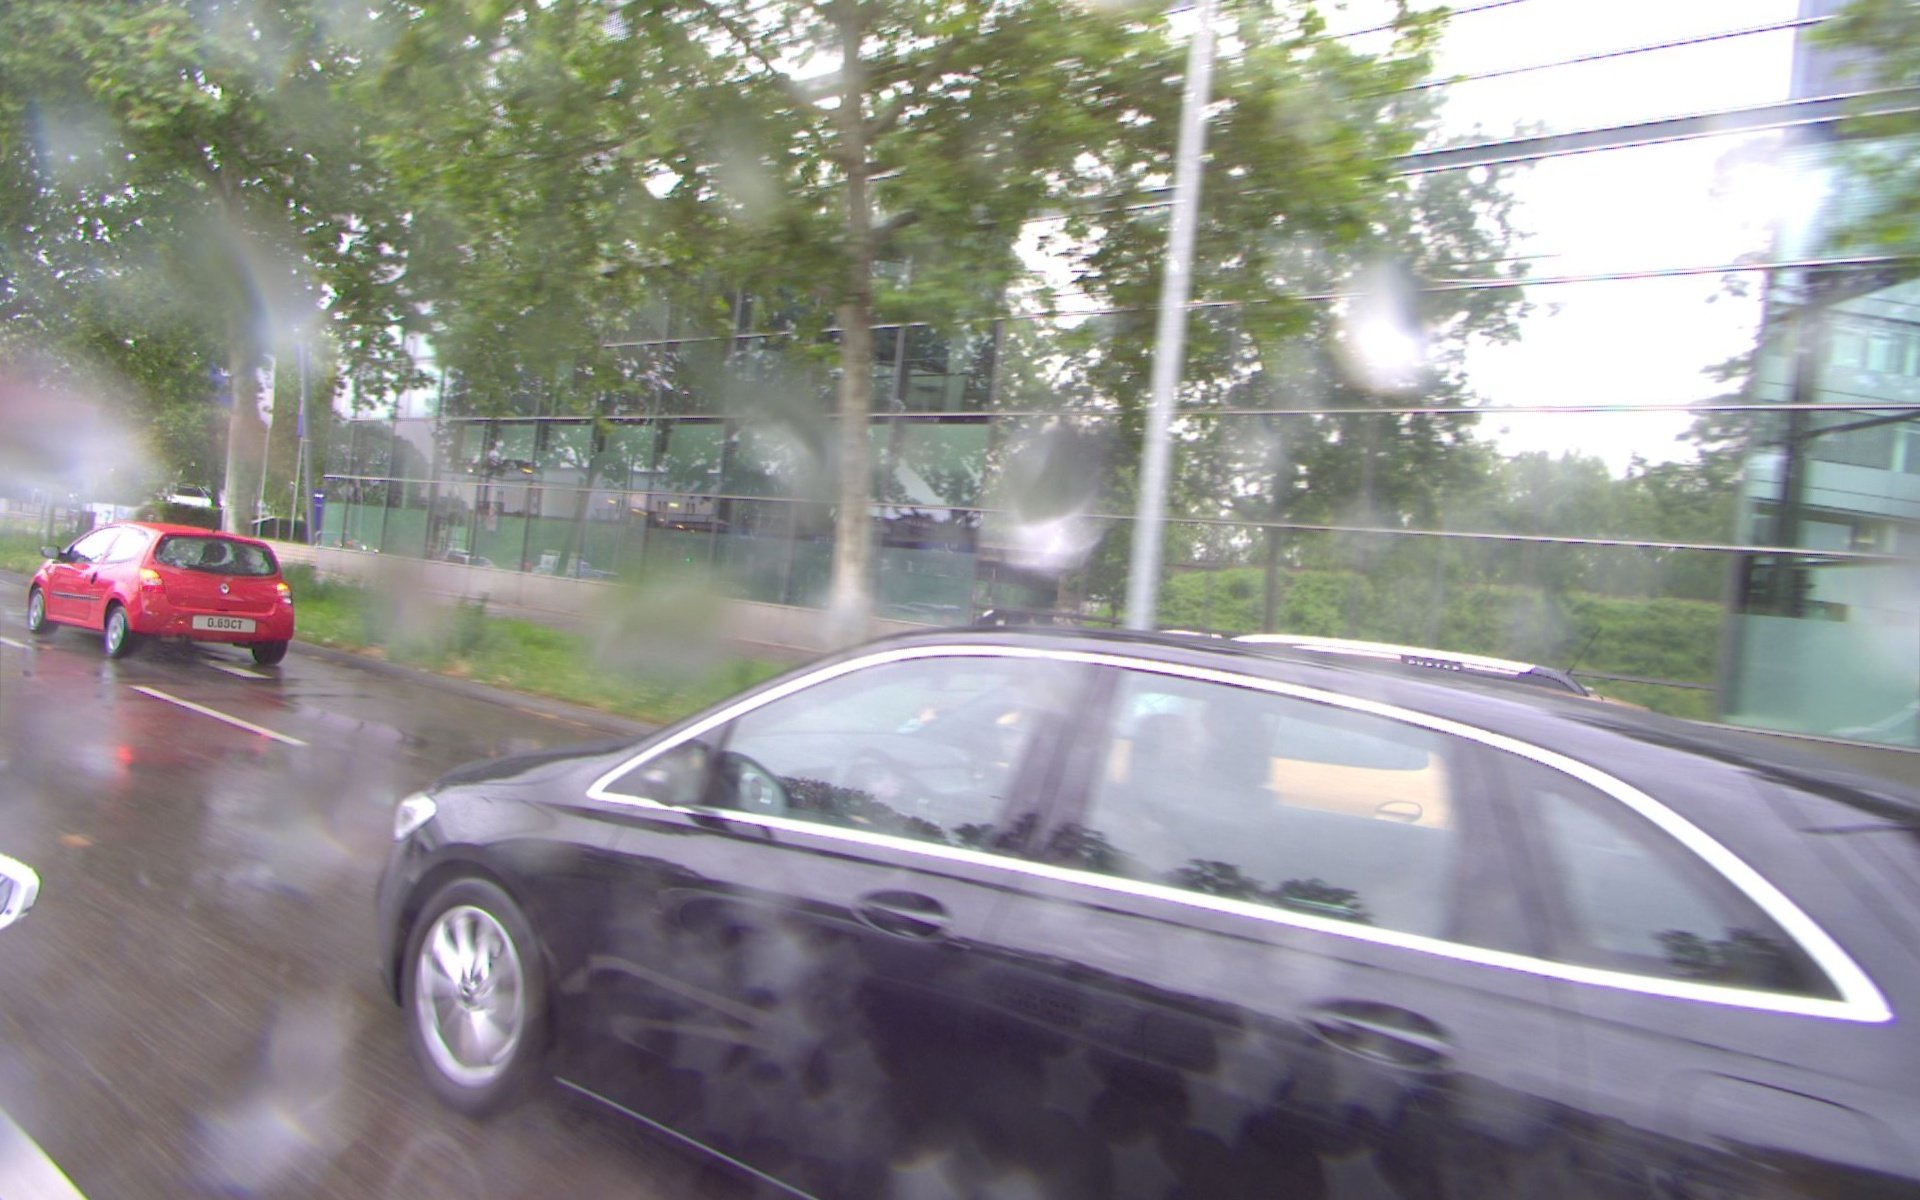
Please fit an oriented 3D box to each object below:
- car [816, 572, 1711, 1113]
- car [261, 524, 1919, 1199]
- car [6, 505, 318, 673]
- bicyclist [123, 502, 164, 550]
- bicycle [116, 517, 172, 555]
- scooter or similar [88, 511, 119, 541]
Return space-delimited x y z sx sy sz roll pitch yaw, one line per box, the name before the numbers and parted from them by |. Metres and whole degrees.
car | 1.448 0.925 5.619 4.102 1.653 1.901 7 1 33
car | 0.118 0.788 2.883 4.018 1.542 1.873 6 0 30
car | -9.462 -0.147 11.887 3.561 1.509 1.681 6 -1 32
bicyclist | -27.402 -2.478 33.775 0.739 1.535 0.805 6 3 29
bicycle | -27.432 -2.155 33.804 2.042 1.119 0.743 6 2 30
scooter or similar | -36.404 -3.126 42.787 0.335 1.153 1.173 6 1 -7
